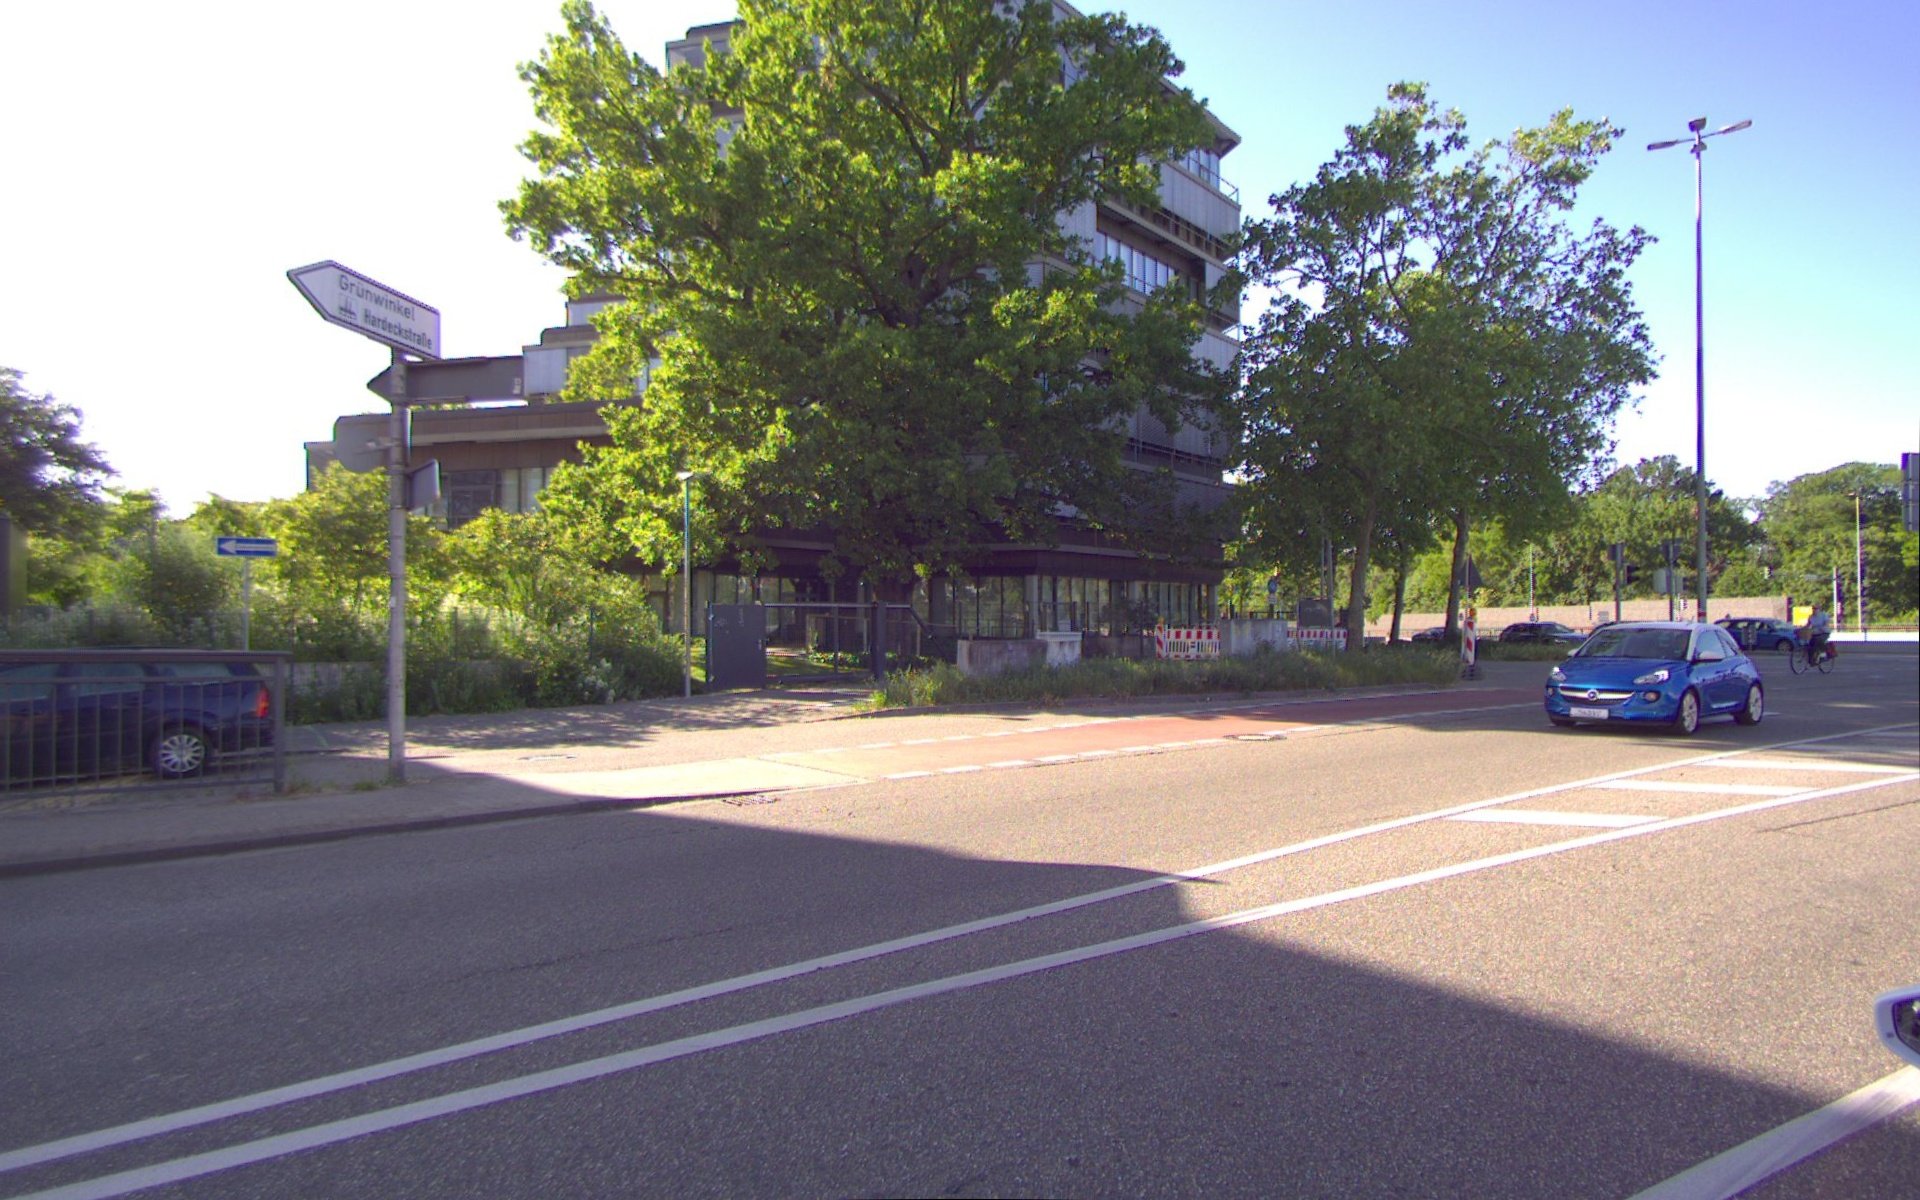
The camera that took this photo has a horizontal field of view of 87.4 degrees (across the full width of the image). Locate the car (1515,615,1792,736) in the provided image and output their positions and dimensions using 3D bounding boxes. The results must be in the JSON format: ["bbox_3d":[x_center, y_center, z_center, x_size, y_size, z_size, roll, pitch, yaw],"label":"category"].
[{"bbox_3d":[10.142,0.992,14.598,4.404,1.523,1.809,1,-2,-34],"label":"car"}]

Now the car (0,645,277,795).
[{"bbox_3d":[-10.493,1.319,11.425,4.411,1.523,1.806,1,-2,-38],"label":"car"}]

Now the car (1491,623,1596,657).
[{"bbox_3d":[26.247,1.766,45.351,1.792,1.457,4.447,0,-2,-7],"label":"car"}]

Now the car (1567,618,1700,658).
[{"bbox_3d":[25.935,1.444,38.870,1.792,1.457,4.447,0,-2,-7],"label":"car"}]

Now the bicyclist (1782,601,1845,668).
[{"bbox_3d":[22.651,0.904,26.673,1.177,1.724,0.687,-1,-1,-13],"label":"bicyclist"}]

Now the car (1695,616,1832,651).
[{"bbox_3d":[34.623,1.434,43.436,1.795,1.457,4.438,0,-2,-15],"label":"car"}]

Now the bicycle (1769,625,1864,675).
[{"bbox_3d":[22.749,1.312,26.688,2.287,1.218,0.687,-1,-1,-14],"label":"bicycle"}]
